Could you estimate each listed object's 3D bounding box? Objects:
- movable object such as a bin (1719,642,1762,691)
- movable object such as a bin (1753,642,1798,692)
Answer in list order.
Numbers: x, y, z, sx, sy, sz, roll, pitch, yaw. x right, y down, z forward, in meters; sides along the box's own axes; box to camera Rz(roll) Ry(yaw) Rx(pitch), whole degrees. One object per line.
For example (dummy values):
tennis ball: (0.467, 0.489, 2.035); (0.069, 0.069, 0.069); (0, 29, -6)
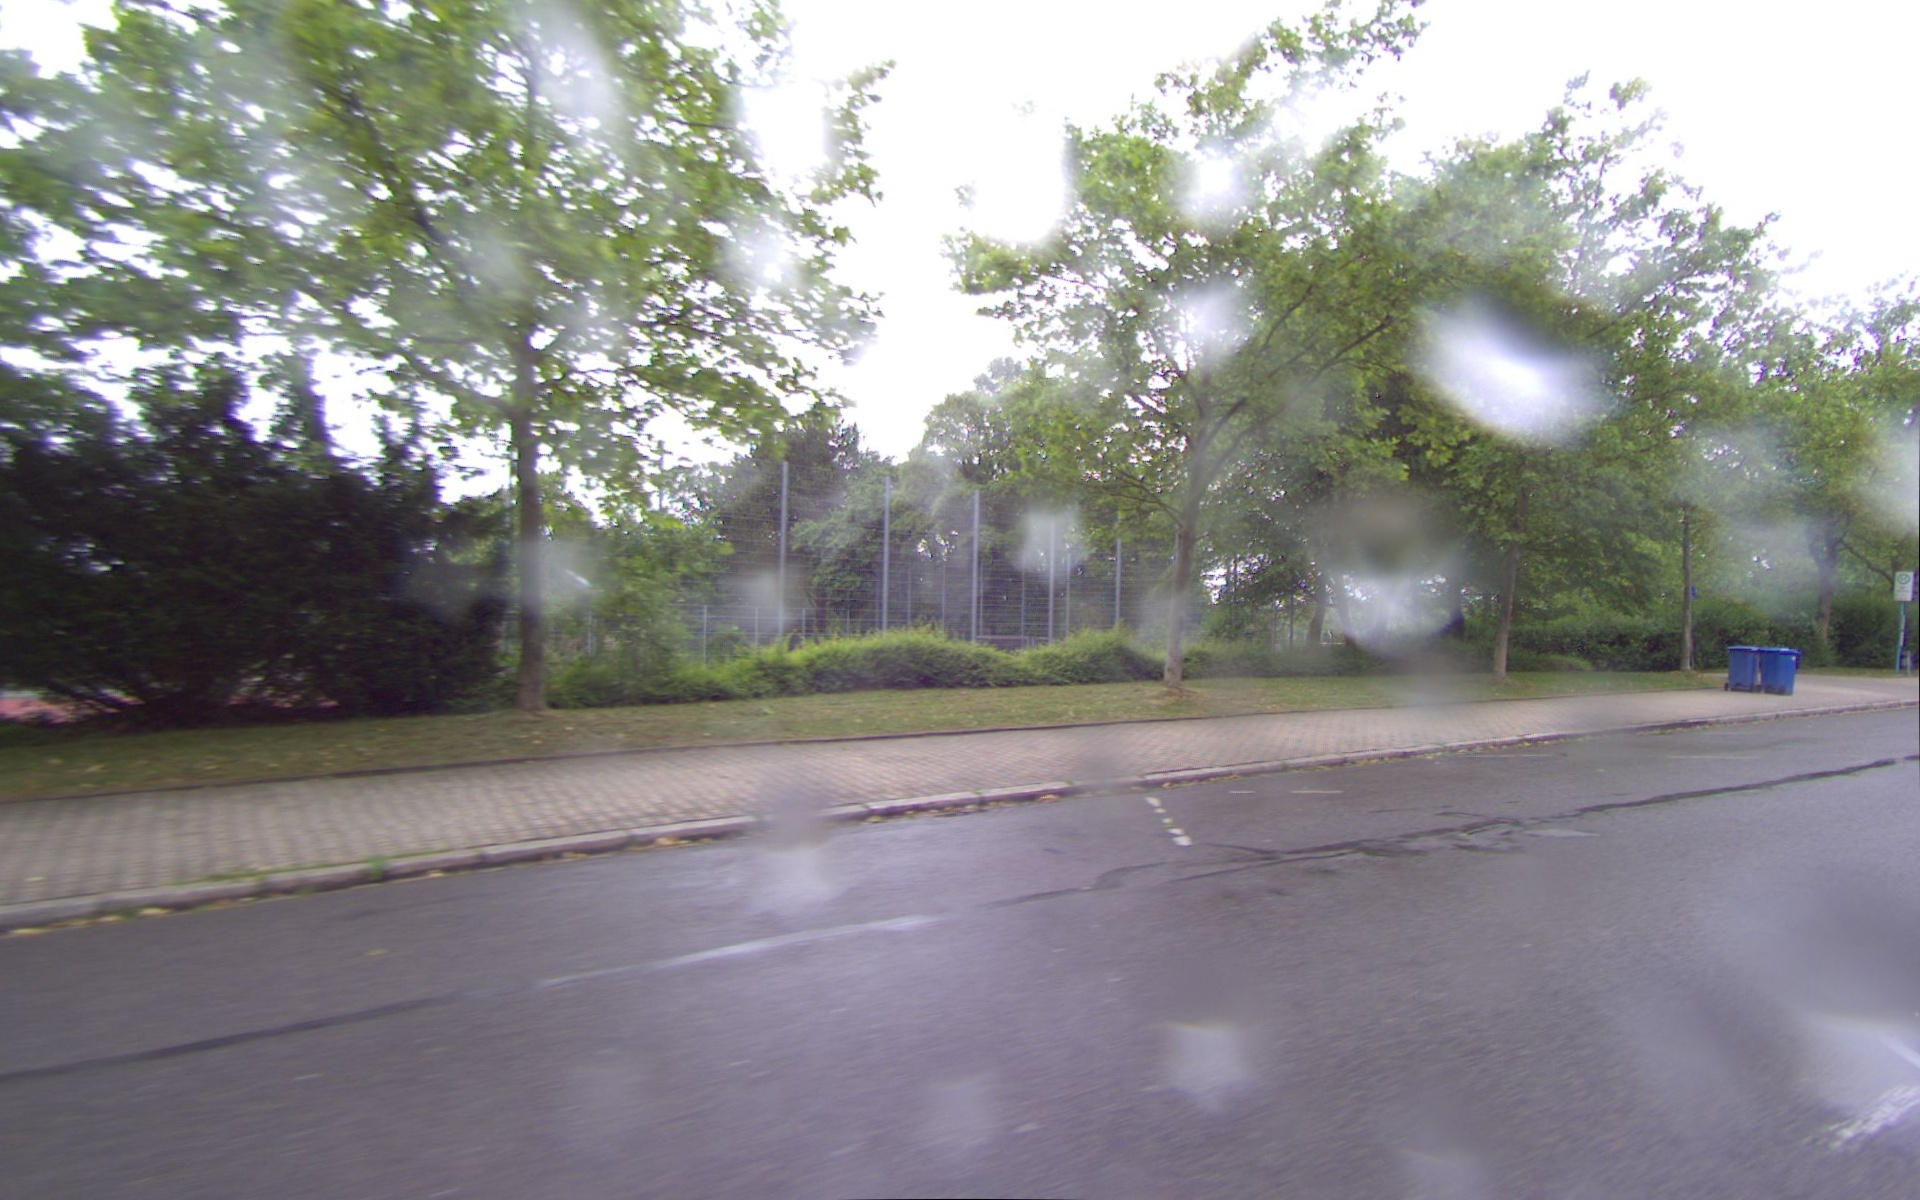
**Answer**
movable object such as a bin: (18.661, 1.570, 24.011); (0.664, 1.113, 0.564); (1, 1, -29)
movable object such as a bin: (19.168, 1.572, 23.612); (0.664, 1.113, 0.564); (1, 1, -29)
